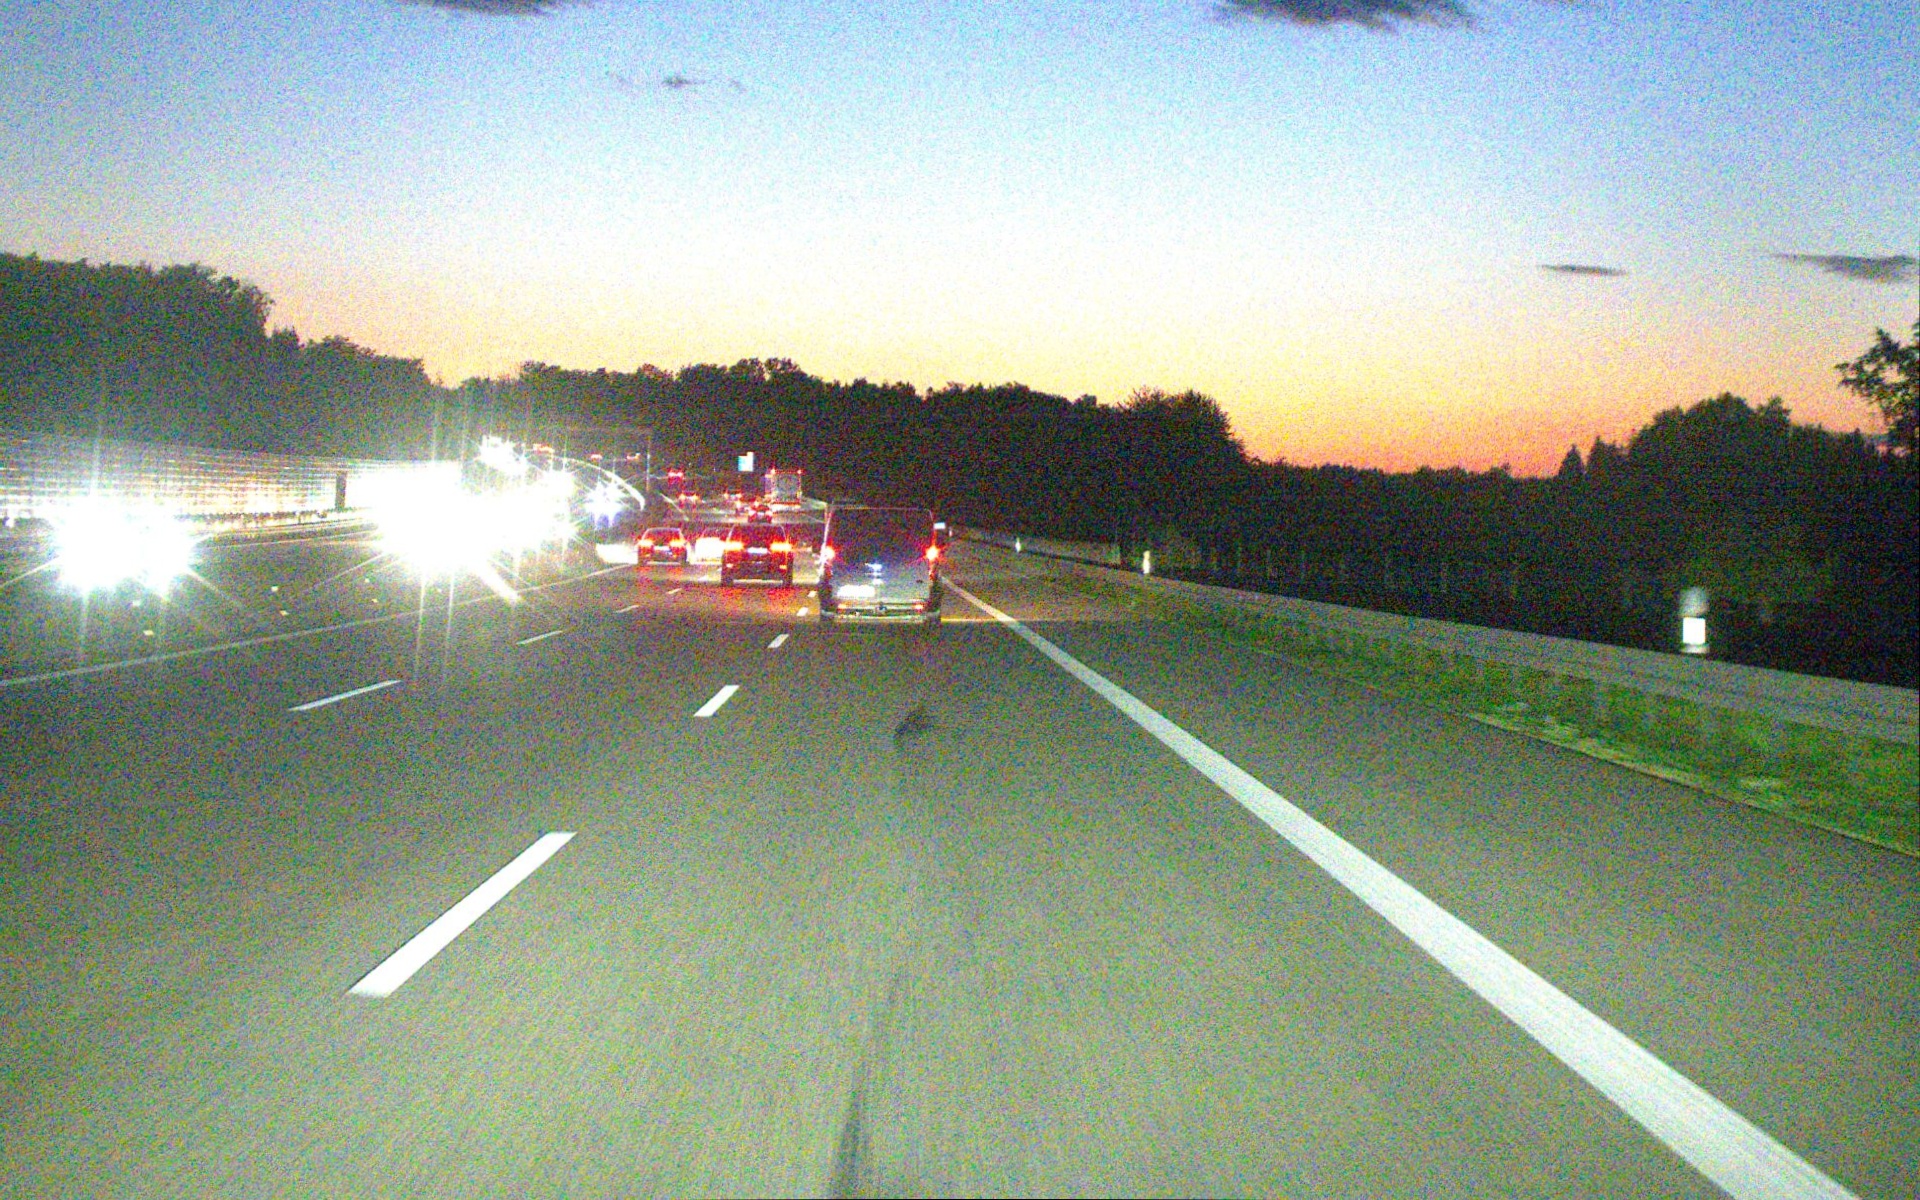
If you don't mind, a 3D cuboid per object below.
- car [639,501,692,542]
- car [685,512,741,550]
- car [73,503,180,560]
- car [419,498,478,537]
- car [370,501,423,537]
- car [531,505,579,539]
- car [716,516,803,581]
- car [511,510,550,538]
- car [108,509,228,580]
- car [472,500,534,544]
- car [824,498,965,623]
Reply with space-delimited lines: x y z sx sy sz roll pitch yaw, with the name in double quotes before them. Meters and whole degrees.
"car" -10.881 -2.885 127.199 1.549 1.426 5.514 1 0 -1
"car" -9.938 -2.797 138.711 1.779 1.482 5.254 1 2 1
"car" -25.987 -2.128 107.340 2.104 1.682 5.387 1 1 -1
"car" -24.242 -3.942 163.062 2.104 1.783 4.870 1 2 -1
"car" -30.212 -4.328 184.453 2.104 1.783 4.869 1 1 -1
"car" -21.929 -4.251 186.283 2.104 1.783 4.870 1 2 -1
"car" -5.453 -1.375 94.068 1.993 1.715 5.942 0 0 0
"car" -29.482 -5.227 236.195 2.104 1.783 4.651 1 0 -1
"car" -20.752 -1.446 90.246 2.104 1.783 4.659 1 0 -1
"car" -19.674 -3.334 148.186 2.104 1.783 4.319 1 0 -1
"car" -1.116 -0.680 56.442 2.196 1.948 4.764 0 1 -2
